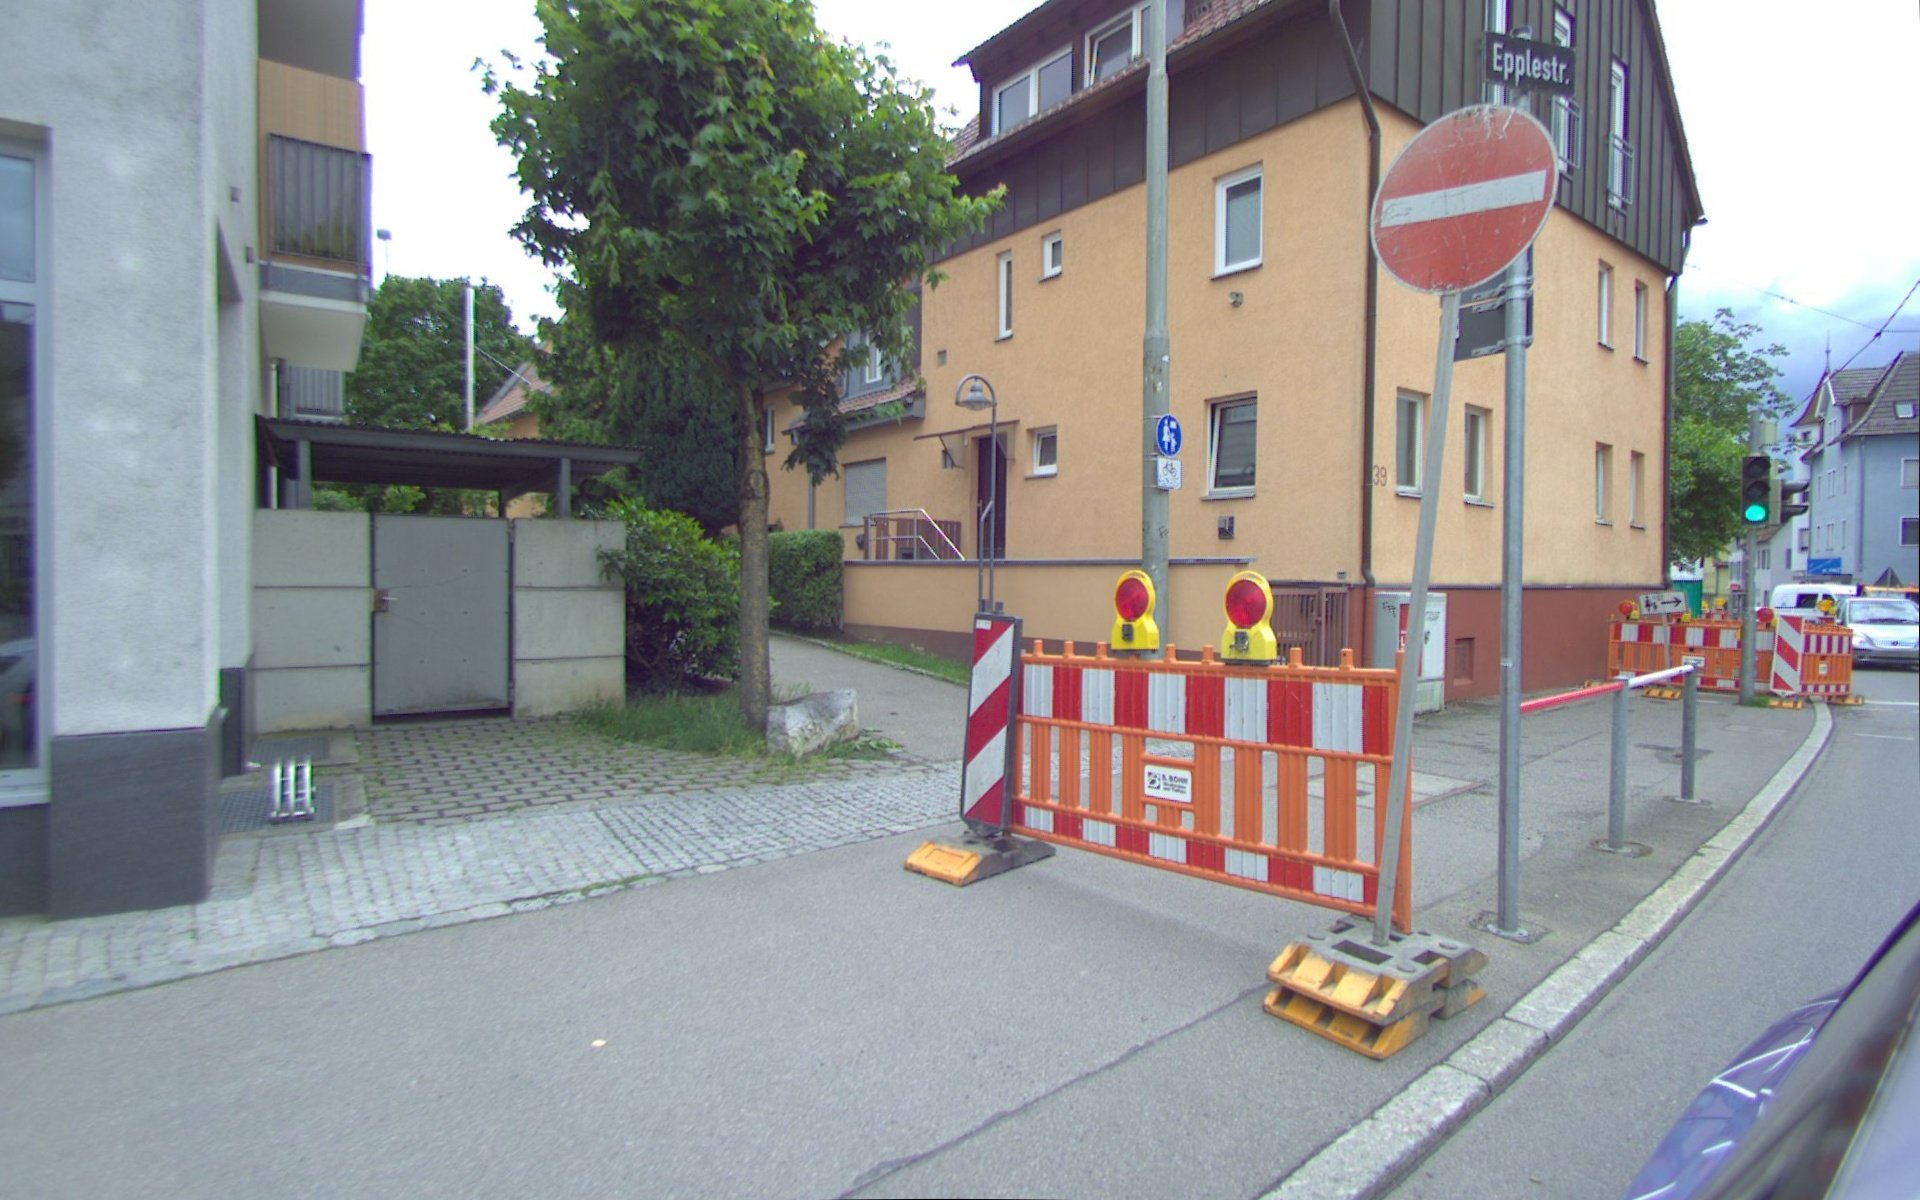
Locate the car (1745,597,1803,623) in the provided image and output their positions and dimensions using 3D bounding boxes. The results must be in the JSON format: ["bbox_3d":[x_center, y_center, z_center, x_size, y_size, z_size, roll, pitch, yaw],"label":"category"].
[{"bbox_3d":[47.278,0.564,58.875,1.786,1.429,3.963,2,1,27],"label":"car"}]

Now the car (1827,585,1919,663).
[{"bbox_3d":[21.159,0.535,22.953,1.848,1.576,4.295,3,1,36],"label":"car"}]

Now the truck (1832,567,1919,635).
[{"bbox_3d":[37.074,0.059,40.217,2.401,2.496,6.241,2,1,30],"label":"truck"}]

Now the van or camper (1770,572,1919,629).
[{"bbox_3d":[44.438,-0.010,50.957,2.283,2.640,6.206,2,1,1],"label":"van or camper"}]
